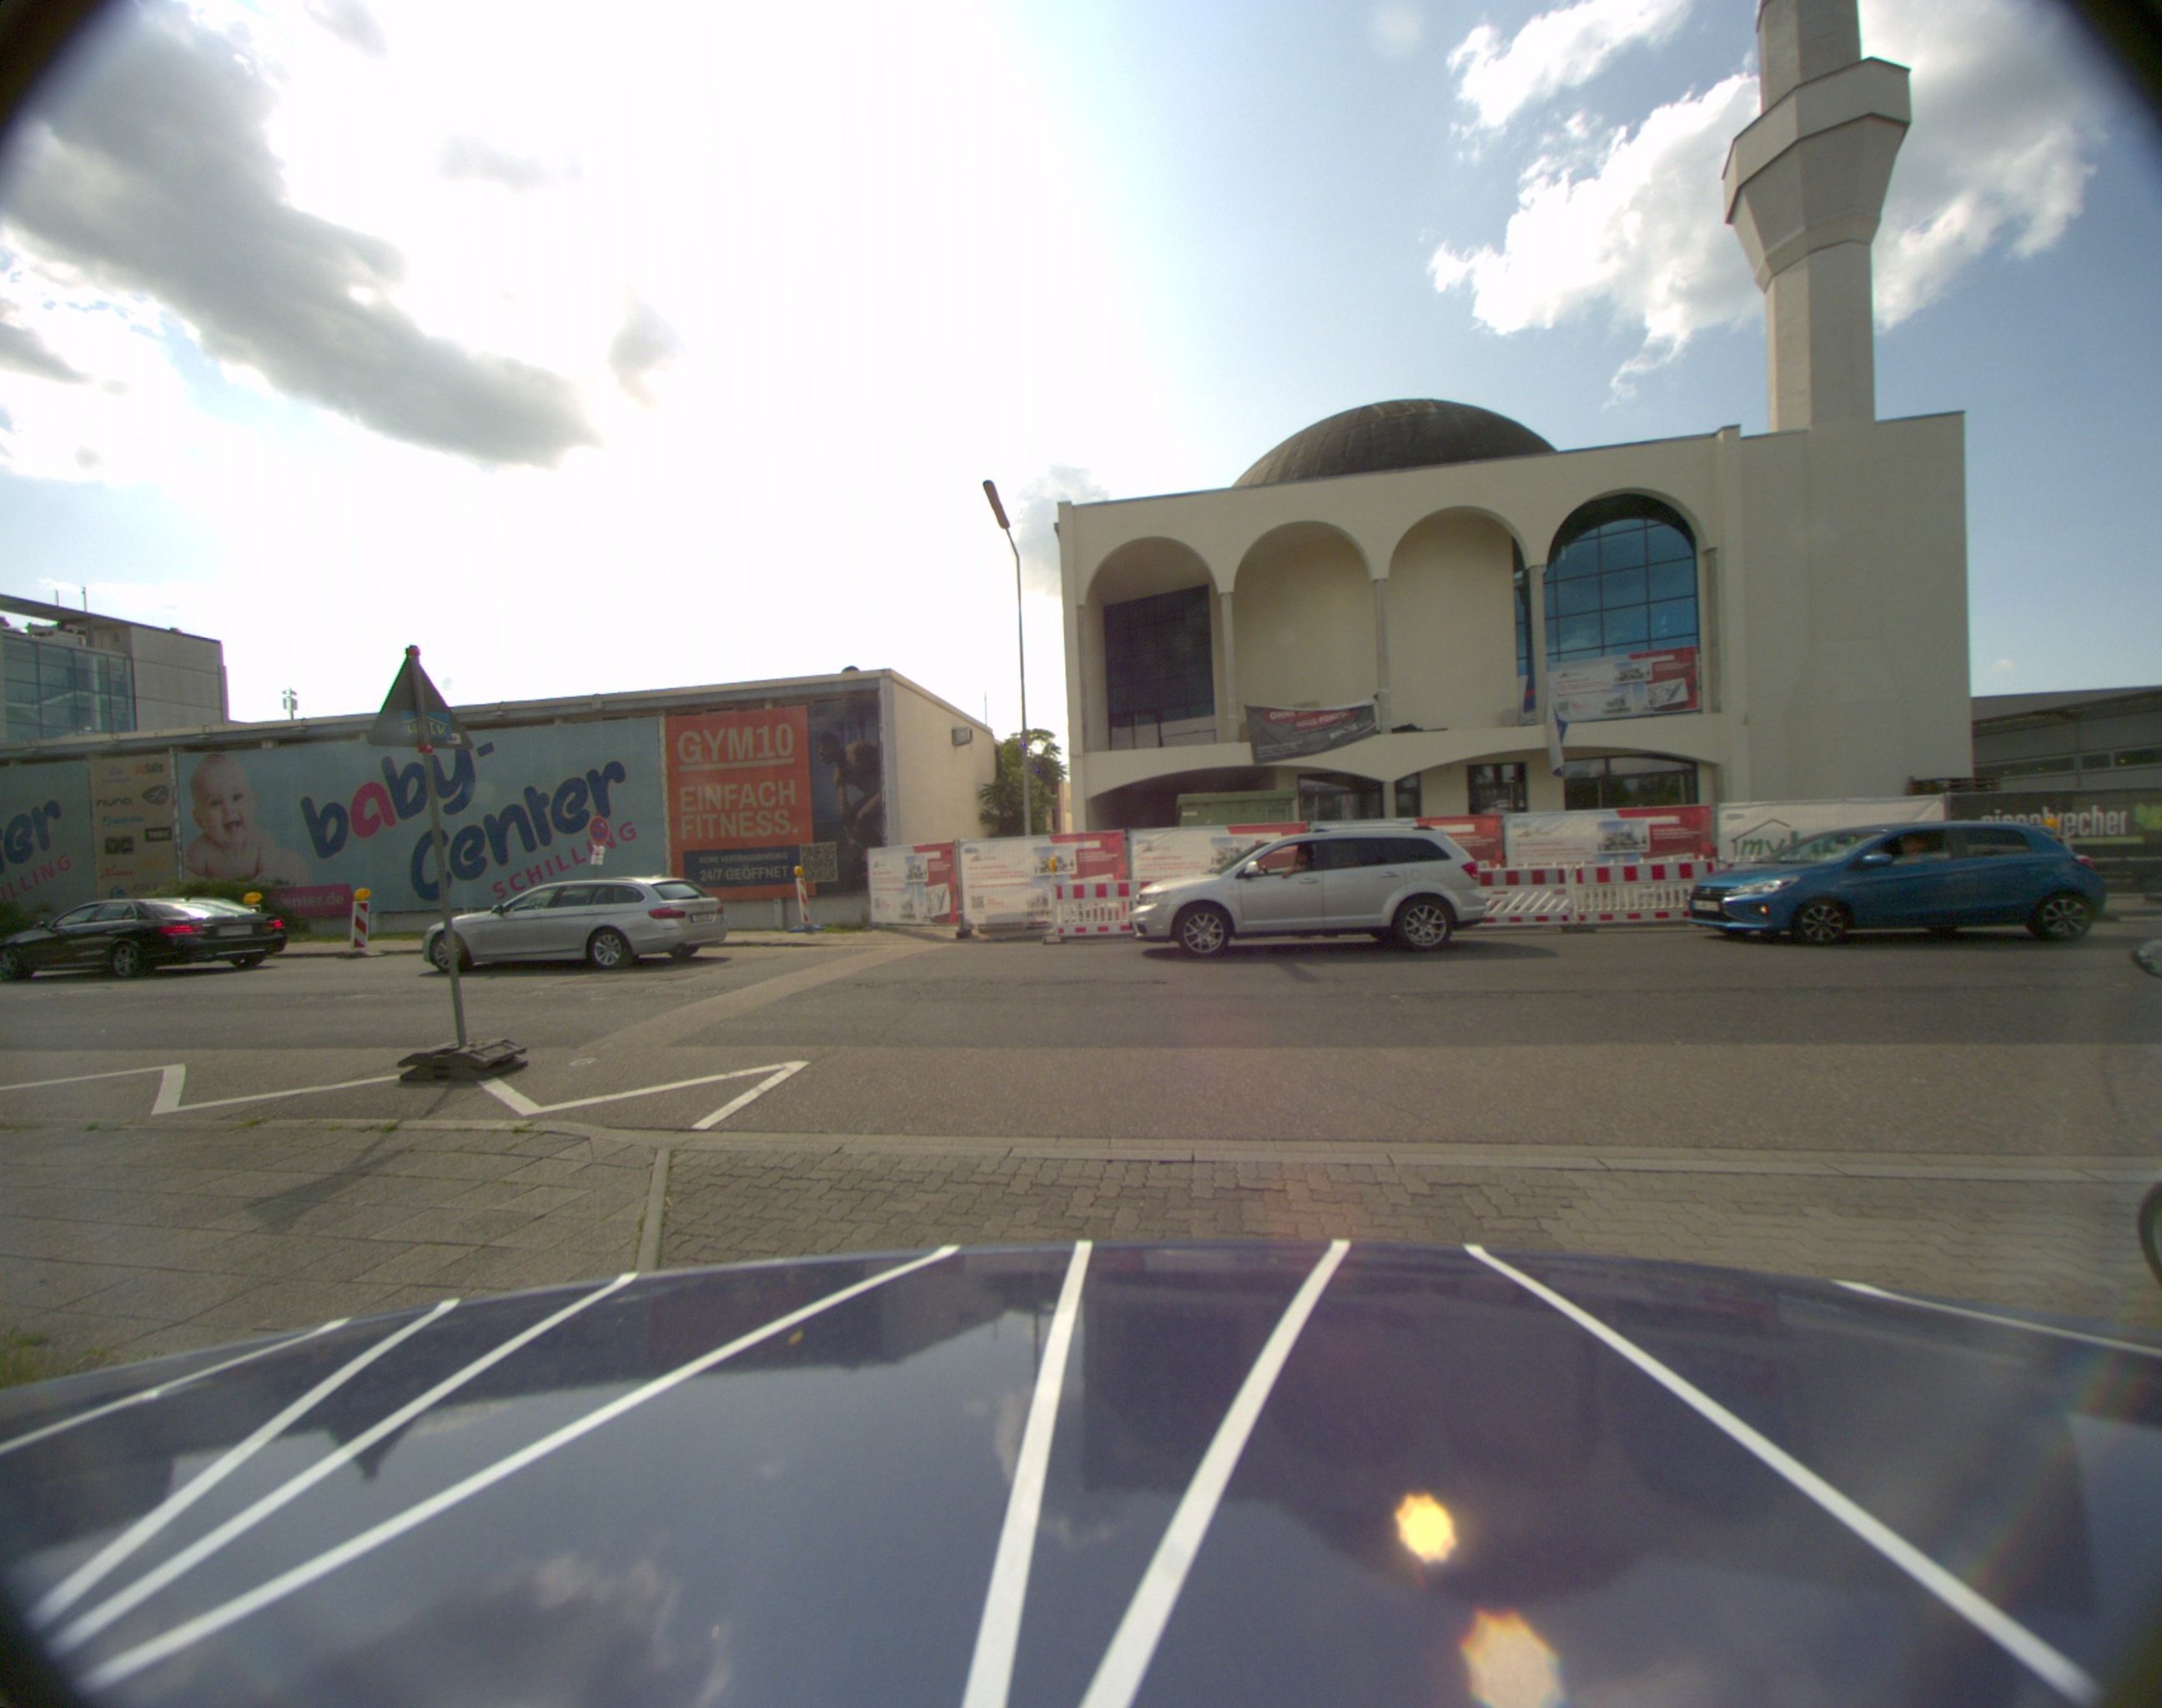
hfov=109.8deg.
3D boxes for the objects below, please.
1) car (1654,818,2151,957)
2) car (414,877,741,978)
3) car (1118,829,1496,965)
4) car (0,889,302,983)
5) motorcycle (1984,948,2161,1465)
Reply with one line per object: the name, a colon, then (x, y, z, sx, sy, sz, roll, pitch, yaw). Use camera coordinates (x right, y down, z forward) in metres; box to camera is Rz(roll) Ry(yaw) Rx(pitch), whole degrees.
car: (10.207, 0.413, 9.788, 4.190, 1.505, 1.698, -2, 1, 9)
car: (-8.429, 1.214, 12.865, 4.610, 1.471, 1.772, -2, 0, 10)
car: (3.019, 0.594, 10.947, 4.833, 1.689, 1.869, -1, 0, 5)
car: (-17.860, 1.535, 14.501, 4.549, 1.491, 1.854, -2, 1, 9)
motorcycle: (3.022, 0.958, 1.291, 0.671, 1.298, 2.214, -2, 1, 11)
